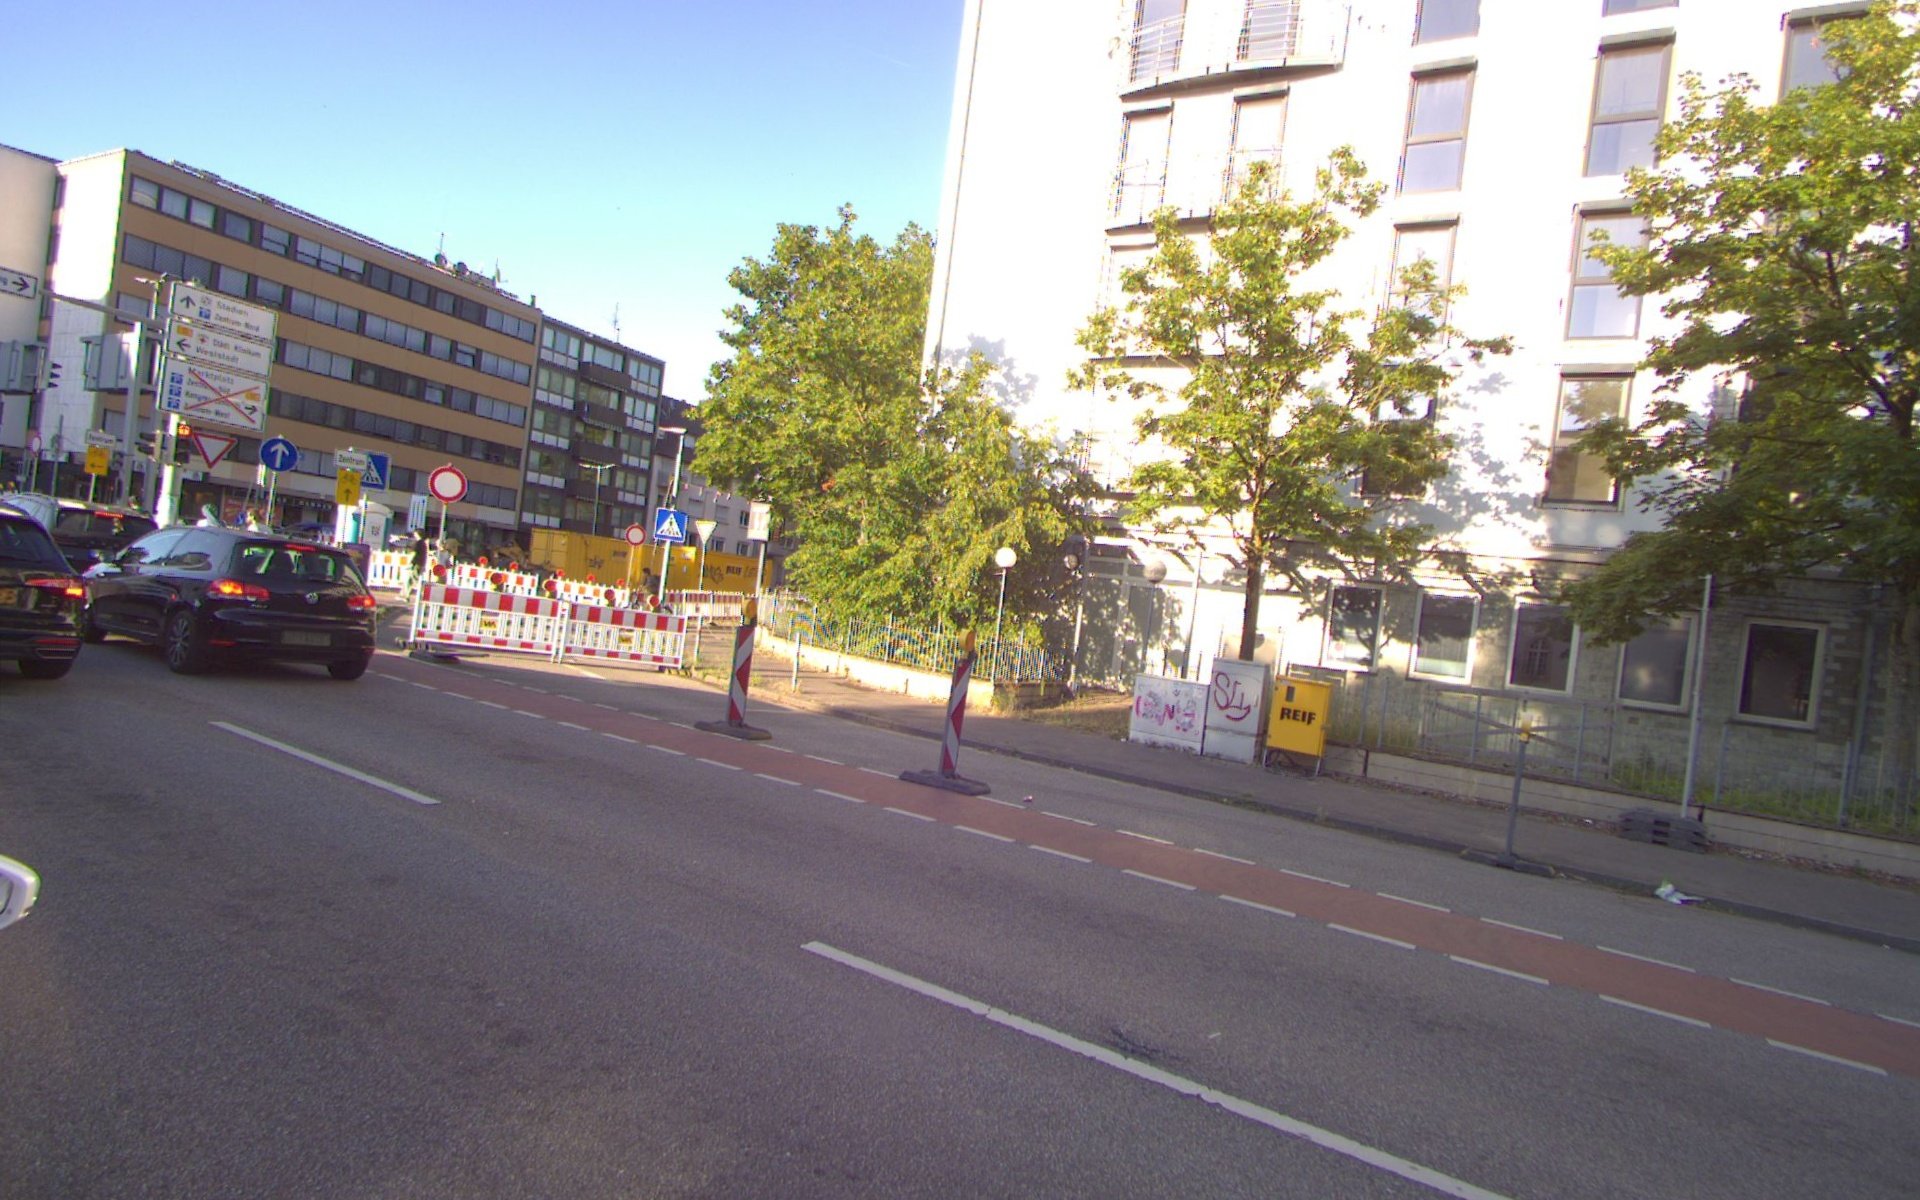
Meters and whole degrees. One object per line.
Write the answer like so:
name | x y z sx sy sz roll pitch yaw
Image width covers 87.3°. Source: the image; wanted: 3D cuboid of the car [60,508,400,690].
car | -8.073 -0.040 11.063 3.683 1.466 1.637 7 -2 32

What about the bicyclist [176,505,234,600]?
bicyclist | -12.969 -0.817 17.285 0.713 1.544 0.441 7 1 32

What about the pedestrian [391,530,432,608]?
pedestrian | -13.641 -0.766 25.021 0.478 1.857 0.572 7 1 9

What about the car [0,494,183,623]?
car | -12.618 -0.639 14.173 3.250 1.467 1.507 7 0 32

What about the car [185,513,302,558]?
car | -30.863 -2.752 43.446 1.667 1.405 3.681 7 0 26

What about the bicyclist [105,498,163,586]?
bicyclist | -15.421 -1.084 18.787 0.713 1.544 0.514 7 1 32

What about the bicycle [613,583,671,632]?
bicycle | -8.857 0.230 28.092 0.368 1.174 1.497 8 -1 34

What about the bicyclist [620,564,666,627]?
bicyclist | -8.844 -0.119 28.096 0.610 1.608 0.812 8 0 35

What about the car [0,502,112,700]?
car | -8.944 -0.226 8.287 4.144 1.437 1.685 7 -2 32

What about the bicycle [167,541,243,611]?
bicycle | -12.952 -0.423 17.241 1.825 1.020 0.337 7 1 32

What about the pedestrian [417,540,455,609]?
pedestrian | -13.371 -0.650 25.687 0.446 1.692 0.604 7 1 3

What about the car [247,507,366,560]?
car | -30.996 -3.127 47.836 1.965 1.839 4.225 7 0 27

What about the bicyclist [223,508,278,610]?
bicyclist | -11.281 -0.645 15.994 0.474 1.544 0.441 7 1 32
